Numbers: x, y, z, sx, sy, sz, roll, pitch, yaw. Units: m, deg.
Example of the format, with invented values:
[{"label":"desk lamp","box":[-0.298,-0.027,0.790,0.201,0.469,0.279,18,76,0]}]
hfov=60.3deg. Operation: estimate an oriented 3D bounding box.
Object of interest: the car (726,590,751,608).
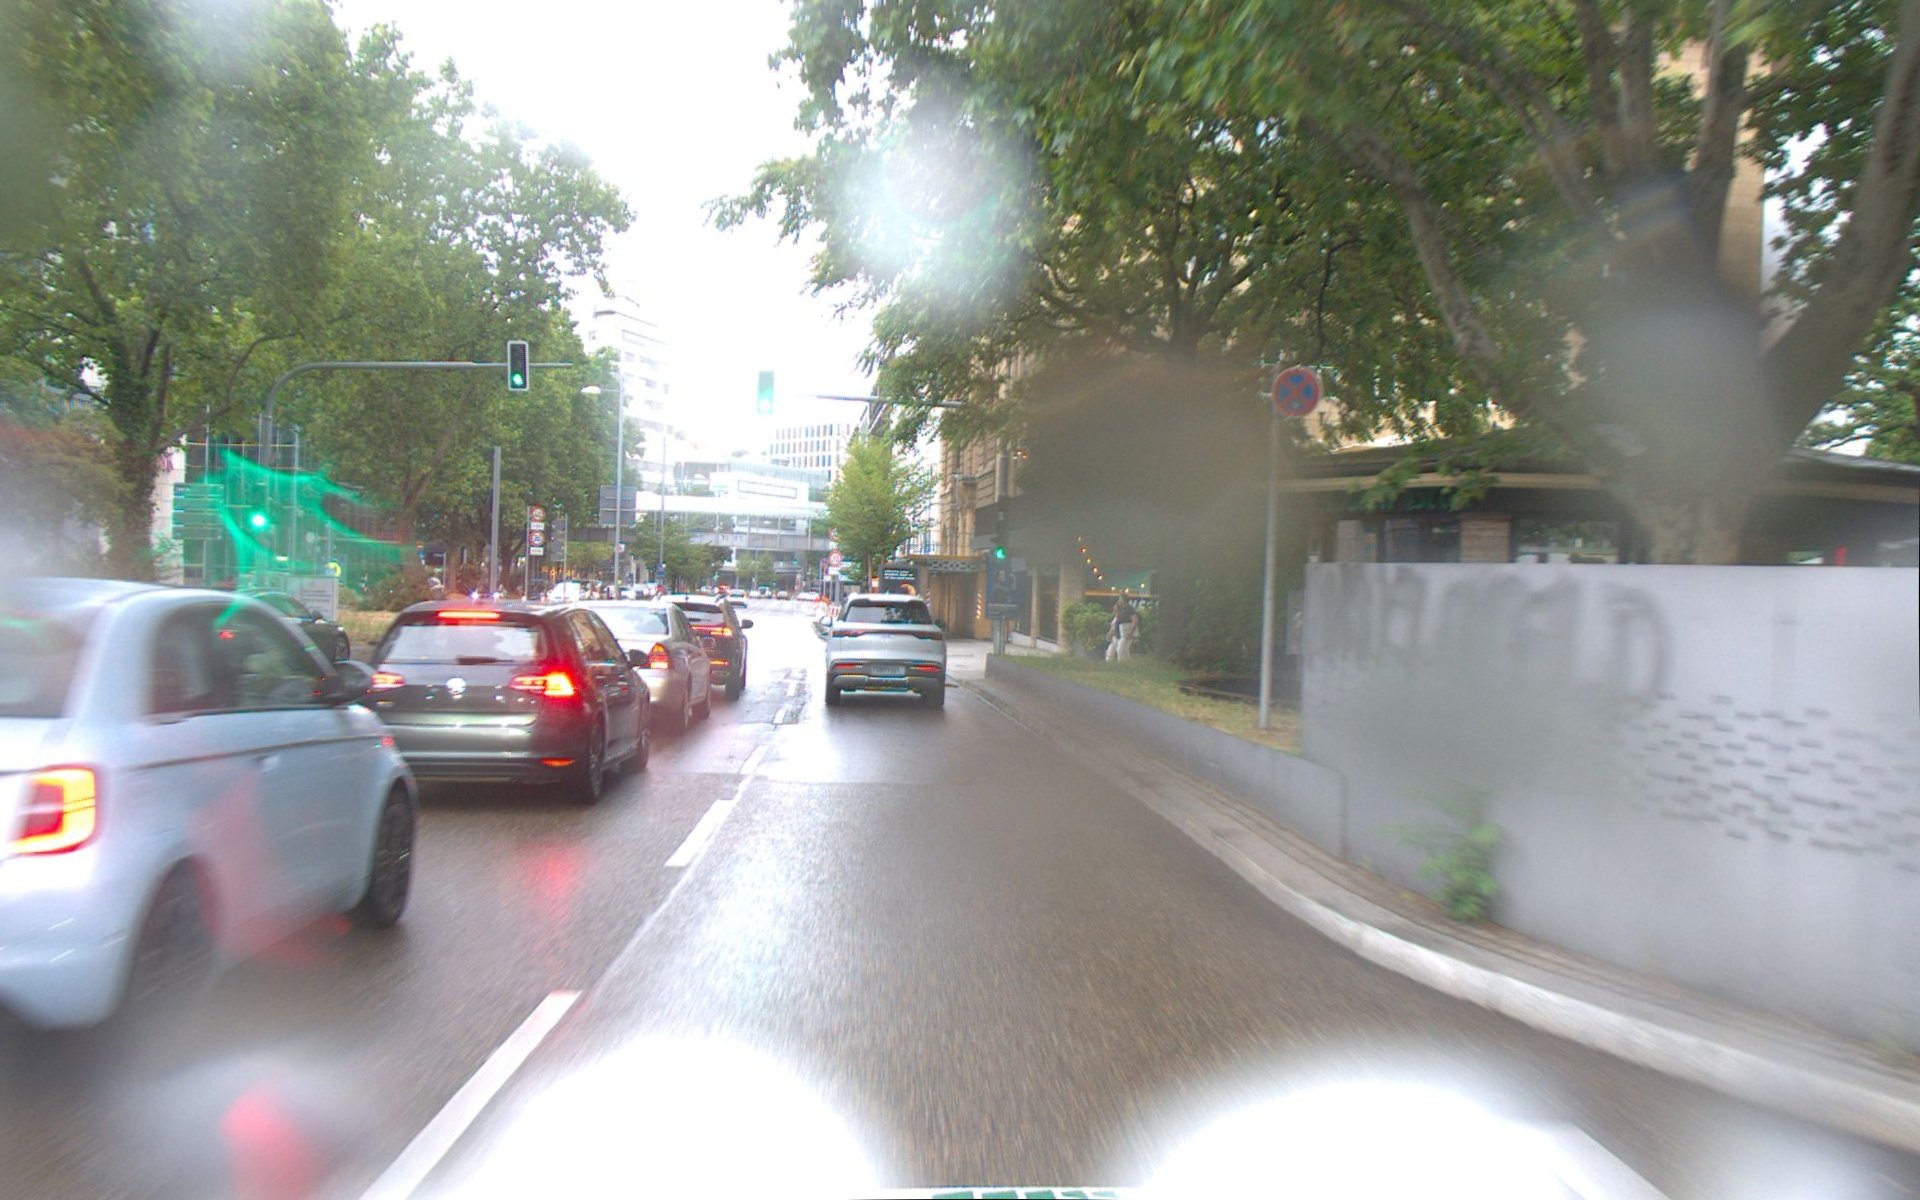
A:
[{"label":"car","box":[-18.844,-0.109,140.675,1.940,1.489,4.340,0,0,-6]}]

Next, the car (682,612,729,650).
[{"label":"car","box":[-10.446,1.265,68.163,1.658,1.489,4.340,0,0,-6]}]

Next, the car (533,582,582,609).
[{"label":"car","box":[-23.068,-0.251,94.978,2.117,1.489,4.340,0,0,-6]}]

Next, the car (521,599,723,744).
[{"label":"car","box":[-3.807,0.740,19.280,1.657,1.489,4.343,0,0,-3]}]

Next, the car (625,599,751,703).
[{"label":"car","box":[-4.173,0.734,25.937,1.658,1.489,4.340,0,0,-6]}]

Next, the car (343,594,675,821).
[{"label":"car","box":[-3.323,0.708,12.967,1.657,1.489,4.127,0,0,-3]}]

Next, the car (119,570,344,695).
[{"label":"car","box":[-10.600,0.432,24.391,1.665,1.648,3.998,1,0,-3]}]

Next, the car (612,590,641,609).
[{"label":"car","box":[-26.700,-0.035,132.518,1.759,1.537,4.494,0,0,-6]}]

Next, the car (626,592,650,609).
[{"label":"car","box":[-29.778,0.076,152.956,1.759,1.537,4.340,0,0,-6]}]

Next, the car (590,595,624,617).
[{"label":"car","box":[-24.446,0.416,114.610,1.759,1.537,4.494,0,0,-6]}]

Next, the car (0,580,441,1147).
[{"label":"car","box":[-3.188,0.707,6.151,1.558,1.517,3.503,0,0,-3]}]

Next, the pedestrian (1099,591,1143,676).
[{"label":"pedestrian","box":[3.549,0.734,36.447,0.841,1.811,0.717,2,-1,0]}]

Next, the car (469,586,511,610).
[{"label":"car","box":[-29.893,-0.125,105.323,1.813,1.390,4.234,2,-1,-6]}]

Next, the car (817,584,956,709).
[{"label":"car","box":[-1.152,0.678,25.757,1.908,1.695,4.342,3,-1,-3]}]

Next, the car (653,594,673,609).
[{"label":"car","box":[-31.663,0.138,176.214,1.759,1.537,4.340,0,0,-6]}]

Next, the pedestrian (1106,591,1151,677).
[{"label":"pedestrian","box":[3.636,0.727,35.693,0.841,1.811,0.717,2,-1,0]}]

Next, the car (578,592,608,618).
[{"label":"car","box":[-28.860,0.385,130.048,1.759,1.943,4.494,0,0,-6]}]

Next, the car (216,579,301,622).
[{"label":"car","box":[-29.502,0.052,69.725,1.654,1.671,4.240,2,-1,1]}]
